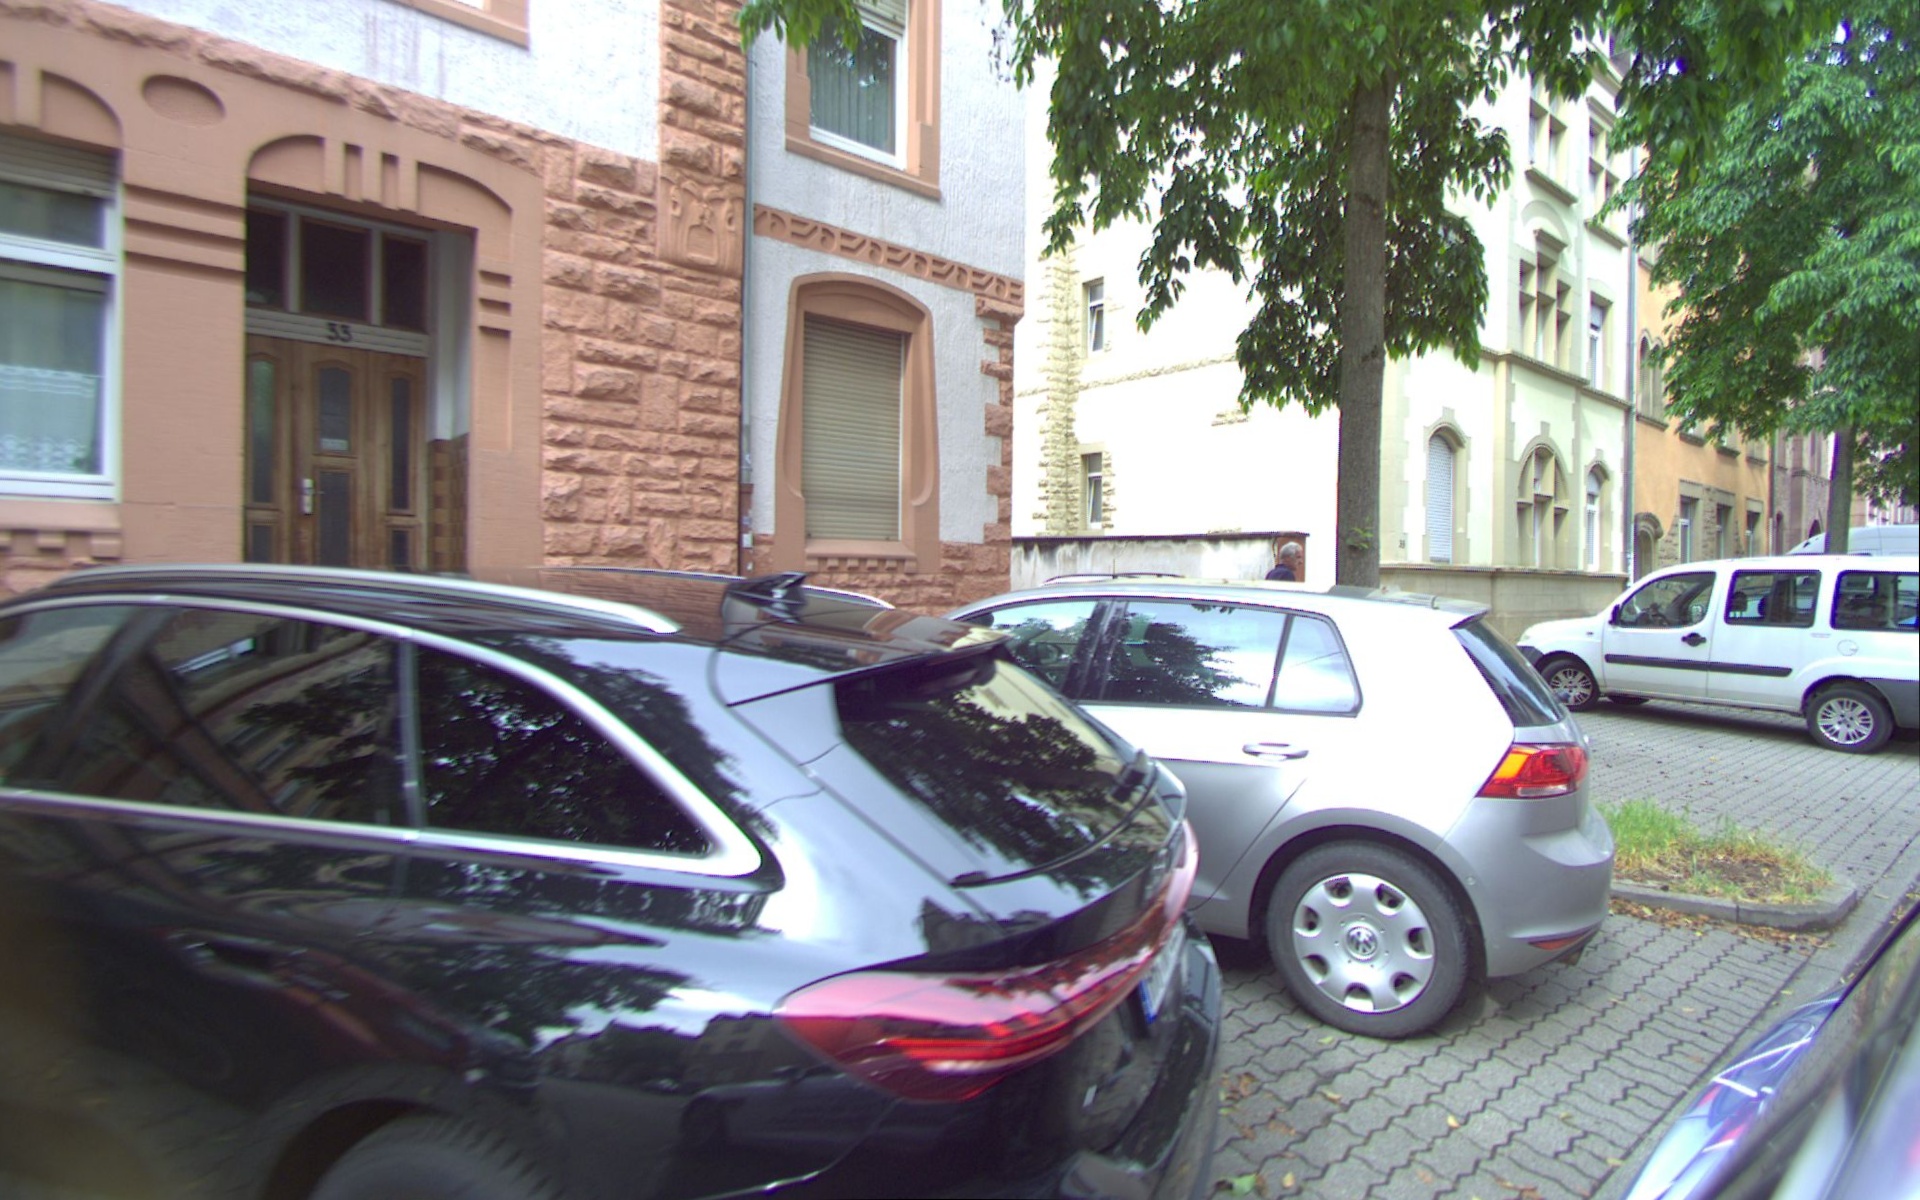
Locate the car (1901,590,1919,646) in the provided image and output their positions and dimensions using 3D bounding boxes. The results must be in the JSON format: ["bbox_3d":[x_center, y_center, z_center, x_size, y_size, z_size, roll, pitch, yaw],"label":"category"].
[{"bbox_3d":[27.315,0.497,26.480,3.560,1.485,1.620,0,0,19],"label":"car"}]

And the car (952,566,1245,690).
[{"bbox_3d":[1.767,0.277,14.019,1.581,1.472,3.995,0,2,-40],"label":"car"}]

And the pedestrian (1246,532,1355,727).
[{"bbox_3d":[3.373,0.272,10.032,0.802,1.835,0.703,0,0,-39],"label":"pedestrian"}]

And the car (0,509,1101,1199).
[{"bbox_3d":[-1.584,0.568,2.766,3.647,1.484,1.695,1,1,19],"label":"car"}]

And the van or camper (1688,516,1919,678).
[{"bbox_3d":[15.831,-0.037,17.356,5.007,2.624,2.060,1,-1,20],"label":"van or camper"}]

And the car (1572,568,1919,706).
[{"bbox_3d":[10.850,0.424,13.554,4.226,1.637,1.750,1,1,21],"label":"car"}]

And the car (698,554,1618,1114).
[{"bbox_3d":[0.752,0.643,4.467,3.436,1.583,1.769,0,0,28],"label":"car"}]

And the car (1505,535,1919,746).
[{"bbox_3d":[8.209,0.308,10.672,1.686,1.834,4.003,0,1,-32],"label":"car"}]
